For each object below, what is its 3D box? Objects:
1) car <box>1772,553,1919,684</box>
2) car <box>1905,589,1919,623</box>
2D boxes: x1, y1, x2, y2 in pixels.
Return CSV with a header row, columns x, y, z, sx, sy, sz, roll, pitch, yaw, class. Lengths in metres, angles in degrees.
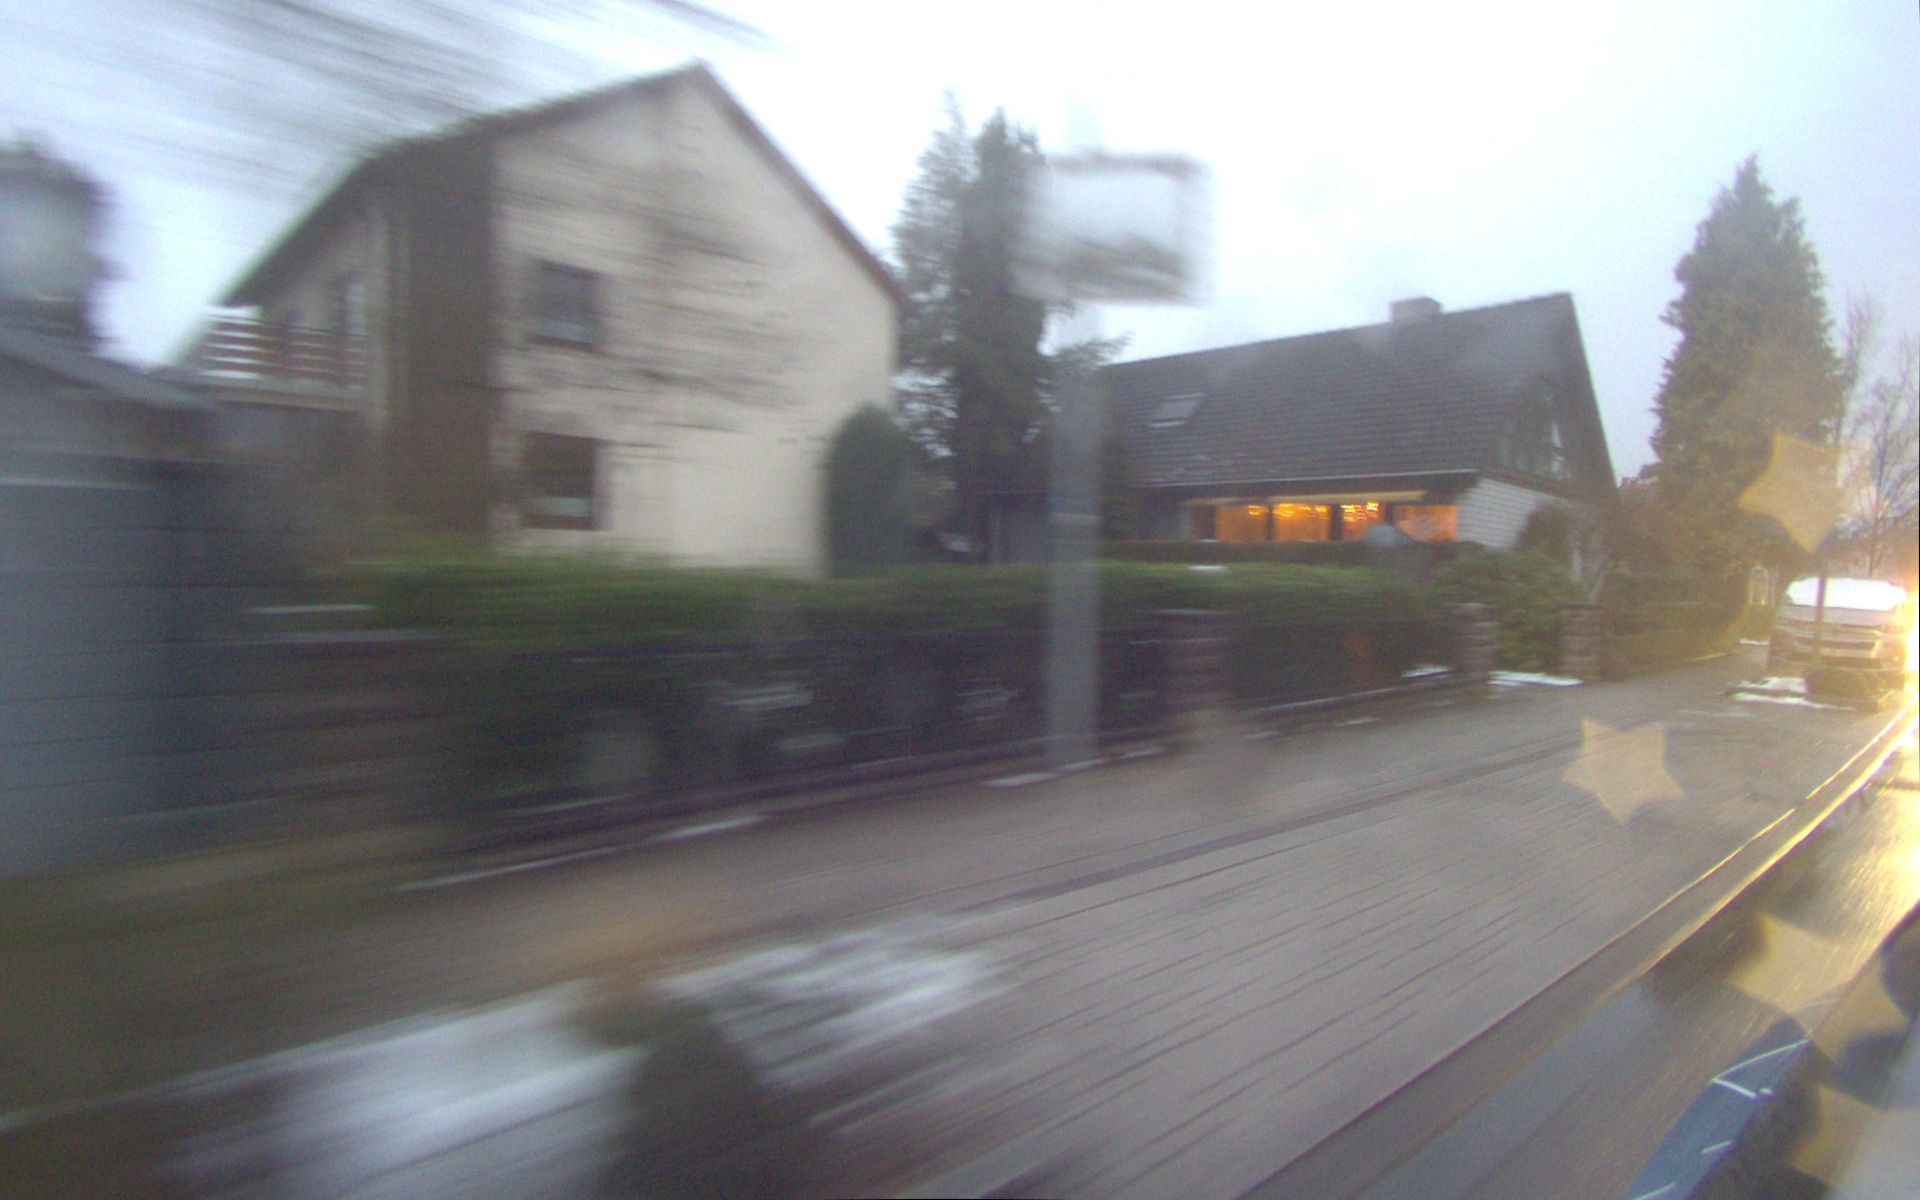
x,y,z,sx,sy,sz,roll,pitch,yaw,class
16.850,0.268,18.935,1.979,2.038,5.654,6,4,44,car
50.561,0.336,52.300,1.988,1.691,3.948,2,2,36,car
